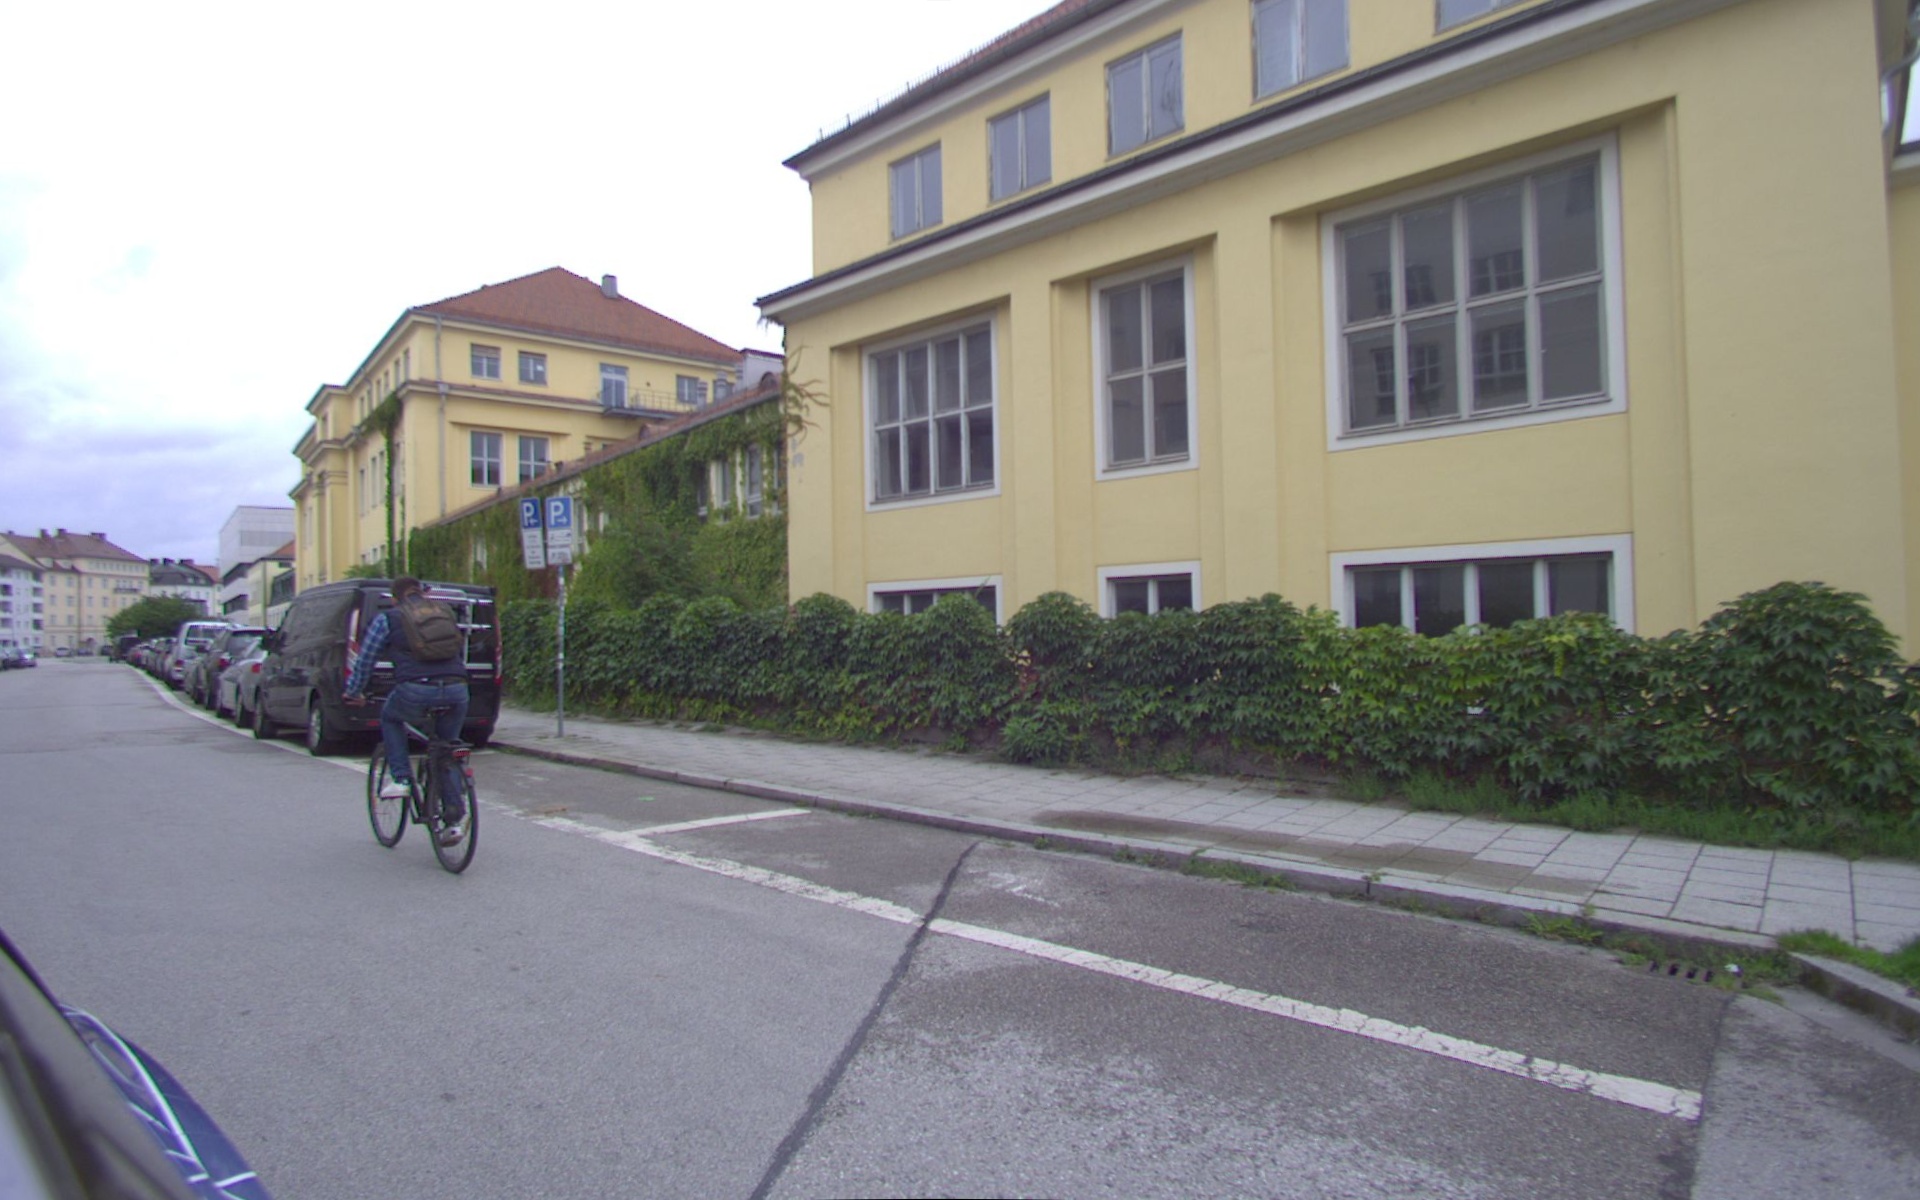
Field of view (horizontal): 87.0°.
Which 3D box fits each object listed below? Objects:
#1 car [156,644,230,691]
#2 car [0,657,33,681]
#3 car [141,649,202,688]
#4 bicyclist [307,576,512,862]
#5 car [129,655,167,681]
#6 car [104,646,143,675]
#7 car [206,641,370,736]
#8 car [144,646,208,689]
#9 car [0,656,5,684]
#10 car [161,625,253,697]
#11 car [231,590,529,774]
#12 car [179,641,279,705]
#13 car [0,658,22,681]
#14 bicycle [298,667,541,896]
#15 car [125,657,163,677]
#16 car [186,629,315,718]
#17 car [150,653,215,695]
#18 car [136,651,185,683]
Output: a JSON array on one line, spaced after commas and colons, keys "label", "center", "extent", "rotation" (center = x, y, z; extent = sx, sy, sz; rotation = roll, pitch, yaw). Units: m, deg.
[{"label": "car", "center": [-25.297, 2.196, 33.326], "extent": [1.571, 1.452, 4.024], "rotation": [4, -5, -41]}, {"label": "car", "center": [-71.468, 5.207, 76.529], "extent": [3.803, 1.686, 1.663], "rotation": [-4, -1, 42]}, {"label": "car", "center": [-35.064, 3.030, 44.957], "extent": [1.767, 1.599, 4.824], "rotation": [4, -5, -41]}, {"label": "bicyclist", "center": [-3.472, 0.688, 6.386], "extent": [0.946, 1.620, 0.854], "rotation": [-2, -2, 40]}, {"label": "car", "center": [-50.512, 4.222, 62.943], "extent": [1.678, 1.508, 4.155], "rotation": [5, -6, -40]}, {"label": "car", "center": [-86.366, 6.241, 104.442], "extent": [6.195, 2.876, 2.189], "rotation": [-3, -5, 42]}, {"label": "car", "center": [-11.507, 1.451, 17.202], "extent": [1.673, 1.404, 4.507], "rotation": [5, -6, -41]}, {"label": "car", "center": [-31.962, 2.740, 41.220], "extent": [1.703, 1.642, 4.472], "rotation": [4, -5, -41]}, {"label": "car", "center": [-57.122, 4.132, 59.225], "extent": [1.686, 1.604, 4.366], "rotation": [-1, -2, -43]}, {"label": "car", "center": [-21.759, 1.744, 29.180], "extent": [1.863, 1.904, 4.782], "rotation": [4, -5, -39]}, {"label": "car", "center": [-7.899, 1.009, 13.500], "extent": [5.352, 1.979, 2.049], "rotation": [-3, -4, 45]}, {"label": "car", "center": [-18.106, 1.773, 24.988], "extent": [1.632, 1.425, 4.779], "rotation": [4, -5, -39]}, {"label": "car", "center": [-61.176, 4.443, 64.531], "extent": [1.666, 1.412, 4.372], "rotation": [-1, -2, -39]}, {"label": "bicycle", "center": [-3.440, 1.033, 6.349], "extent": [2.002, 1.167, 0.663], "rotation": [-2, -2, 41]}, {"label": "car", "center": [-62.299, 5.081, 77.219], "extent": [1.934, 1.493, 4.534], "rotation": [4, -5, -42]}, {"label": "car", "center": [-14.821, 1.490, 21.031], "extent": [1.676, 1.655, 4.496], "rotation": [4, -5, -41]}, {"label": "car", "center": [-28.710, 2.702, 37.309], "extent": [1.583, 1.441, 4.257], "rotation": [4, -5, -41]}, {"label": "car", "center": [-43.807, 3.643, 55.418], "extent": [1.724, 1.646, 4.861], "rotation": [2, -4, -42]}]
